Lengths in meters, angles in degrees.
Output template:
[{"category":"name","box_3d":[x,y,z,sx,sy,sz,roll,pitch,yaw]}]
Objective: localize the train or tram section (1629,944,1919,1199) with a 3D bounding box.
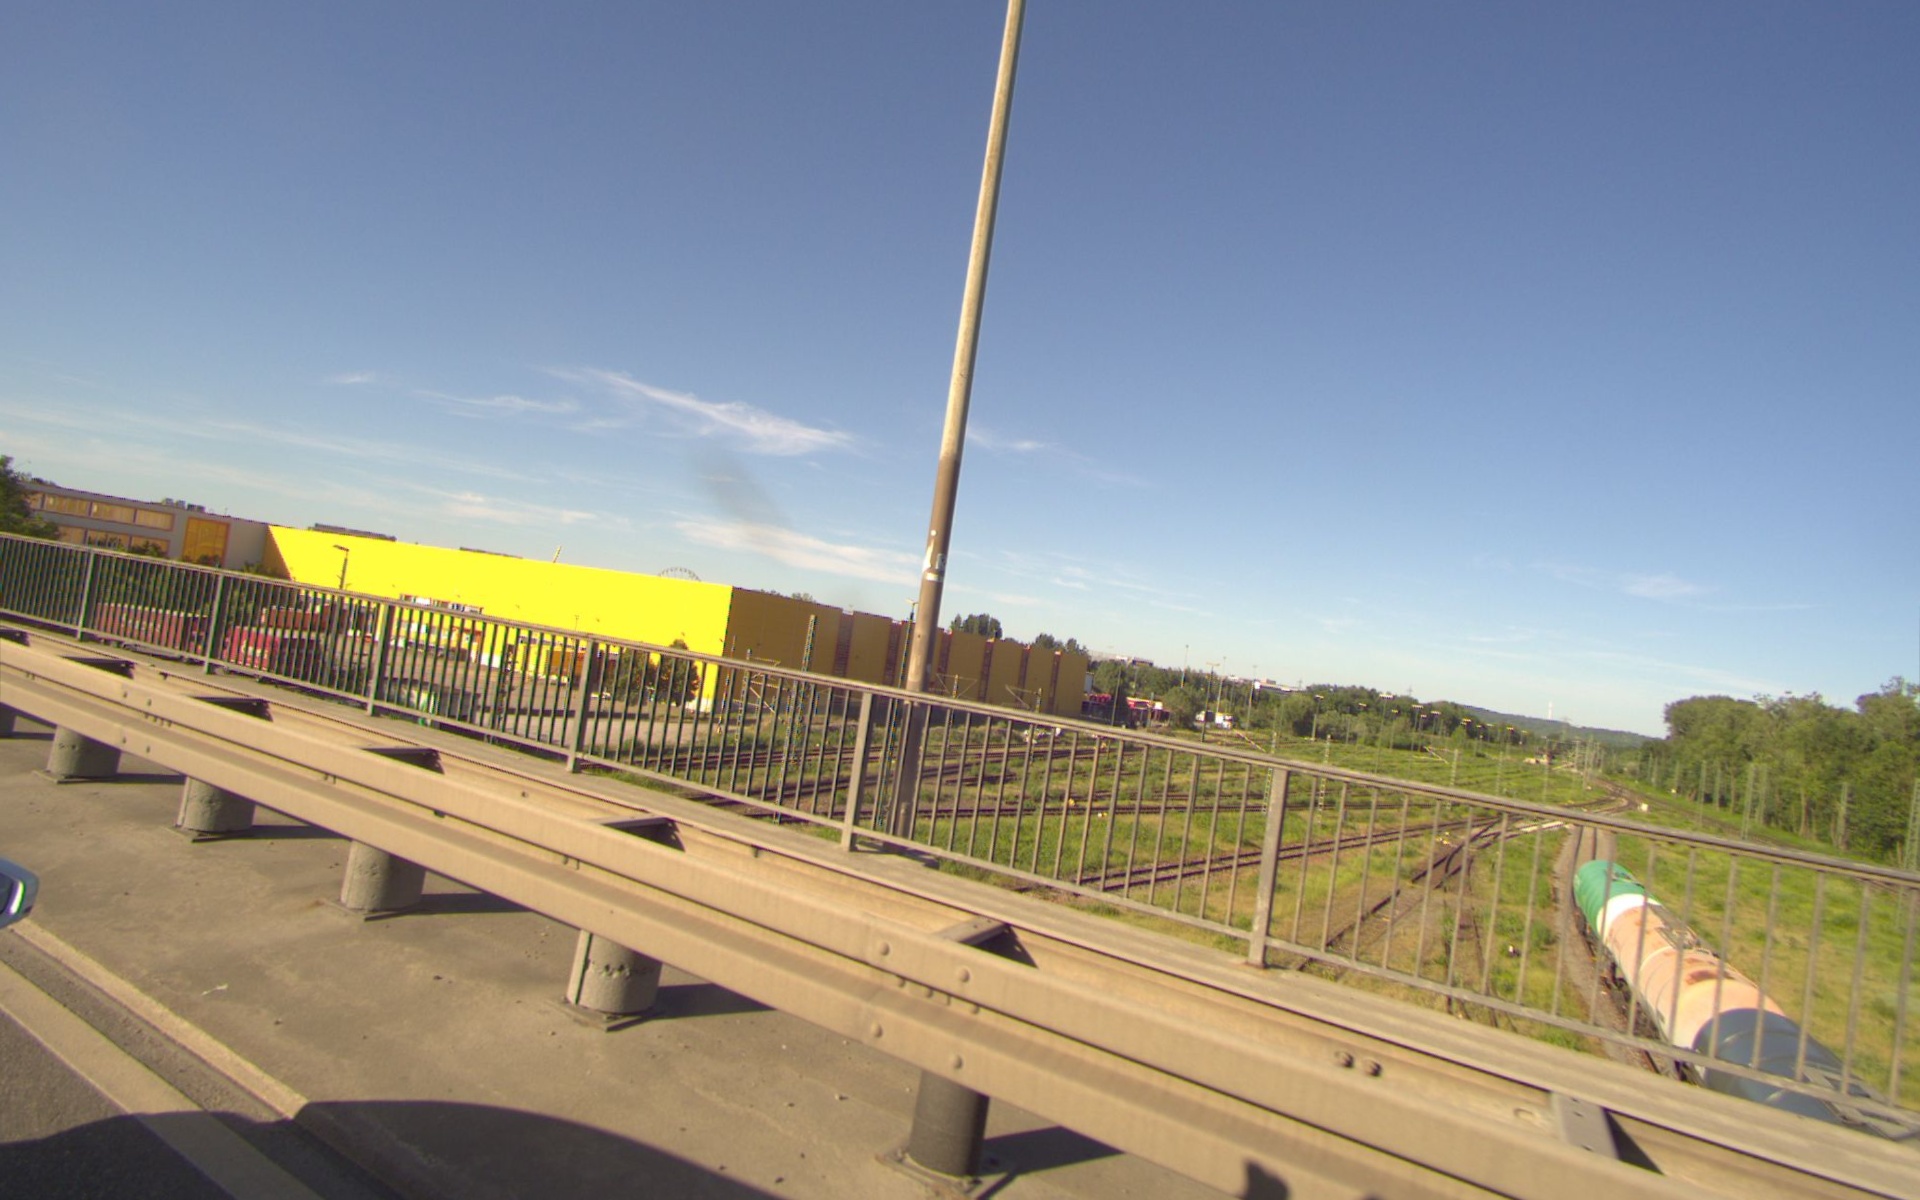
[{"category":"train or tram section","box_3d":[17.634,12.022,21.941,3.279,5.327,13.072,7,-1,29]}]

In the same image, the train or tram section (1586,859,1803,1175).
[{"category":"train or tram section","box_3d":[24.738,13.264,35.103,3.279,5.323,16.865,7,-1,29]}]

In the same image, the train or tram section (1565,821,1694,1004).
[{"category":"train or tram section","box_3d":[32.265,14.583,49.165,3.279,5.244,15.165,7,-1,29]}]
